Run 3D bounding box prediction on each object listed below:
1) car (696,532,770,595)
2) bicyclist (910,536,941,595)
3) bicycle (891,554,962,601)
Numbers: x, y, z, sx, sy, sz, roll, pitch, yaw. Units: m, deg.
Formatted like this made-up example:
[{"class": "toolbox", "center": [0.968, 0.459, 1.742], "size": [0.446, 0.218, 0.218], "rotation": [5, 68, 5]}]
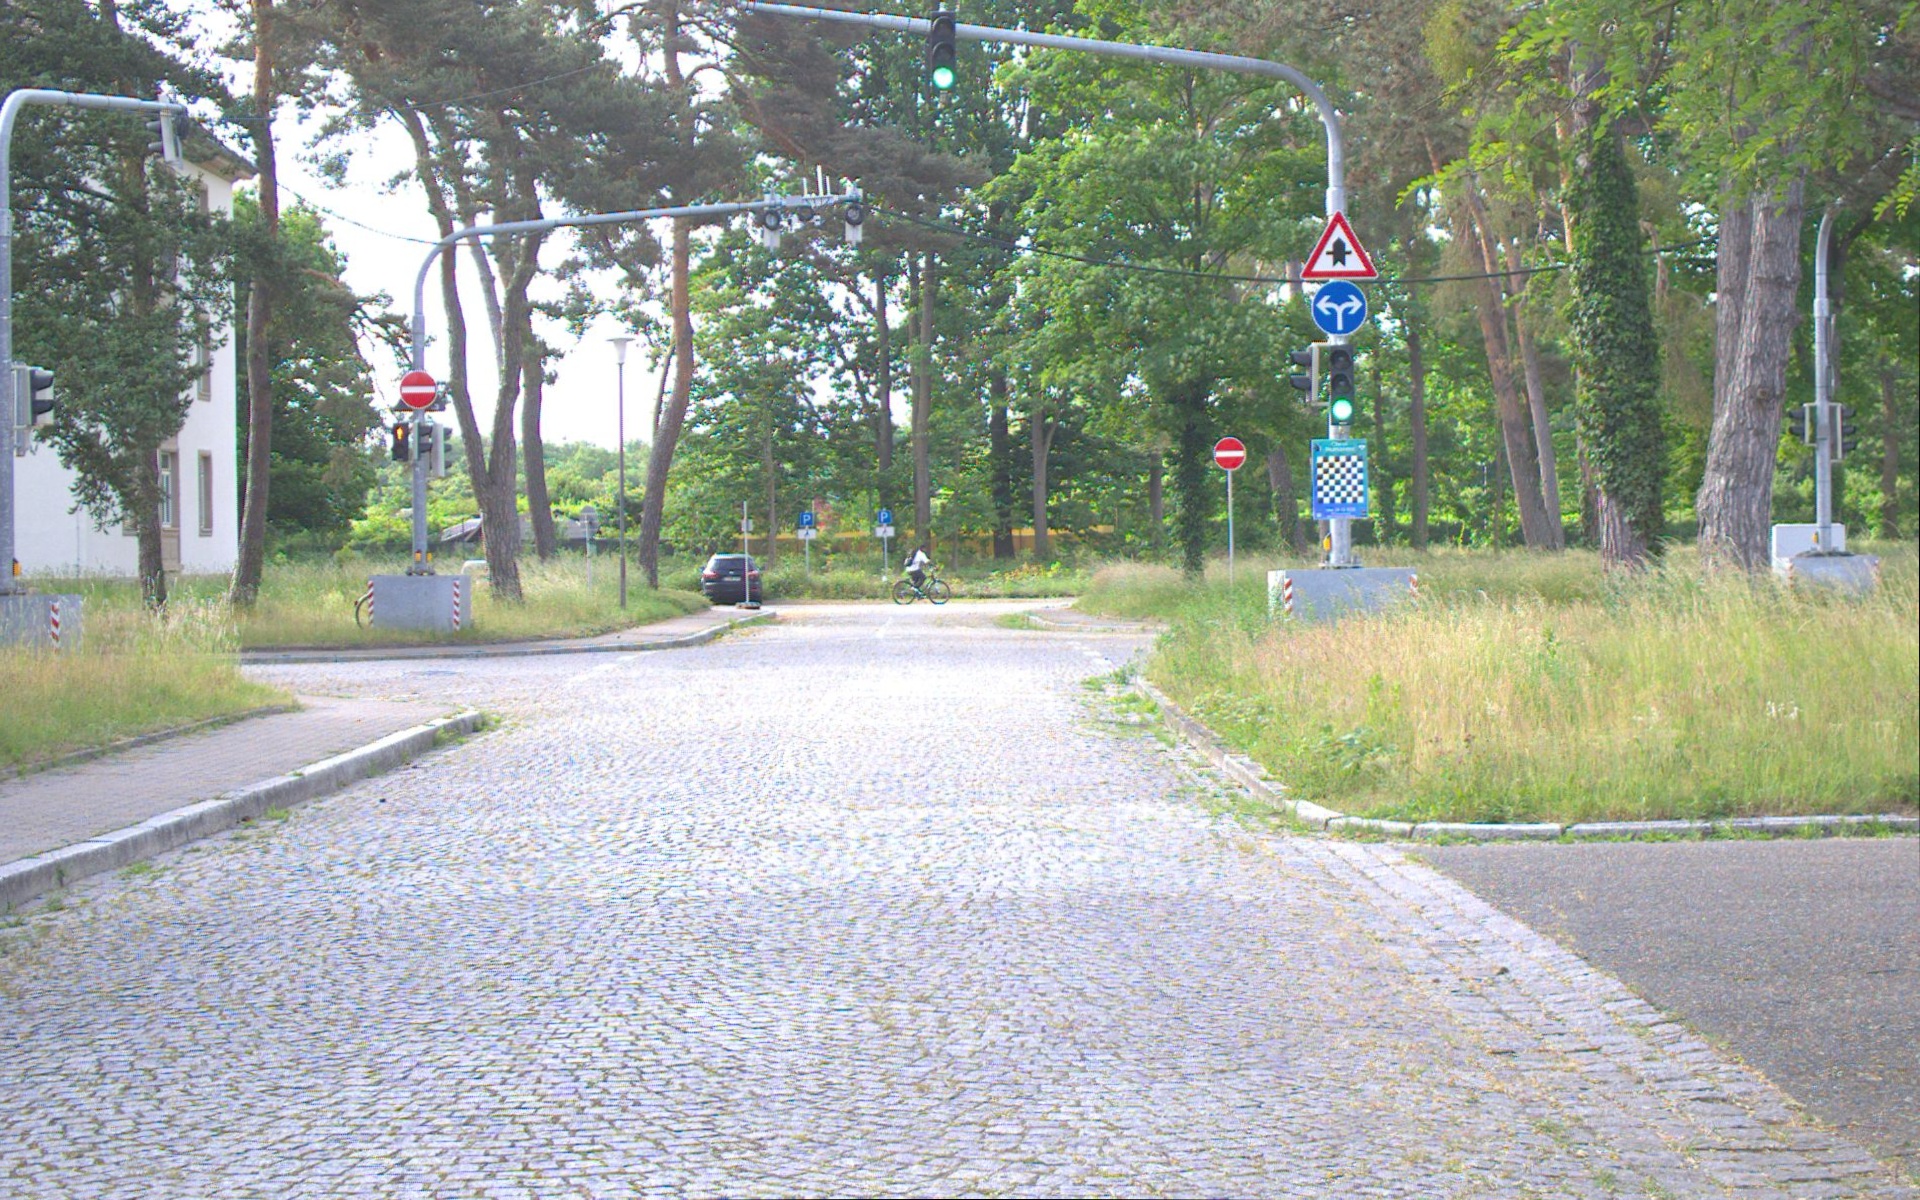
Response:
[{"class": "car", "center": [-6.888, -1.131, 104.737], "size": [2.056, 1.840, 4.000], "rotation": [-1, 1, -1]}, {"class": "bicyclist", "center": [-0.989, -0.989, 98.655], "size": [0.748, 1.665, 0.526], "rotation": [1, 0, -17]}, {"class": "bicycle", "center": [-0.962, -0.657, 98.659], "size": [1.968, 1.316, 0.518], "rotation": [1, 0, -18]}]
